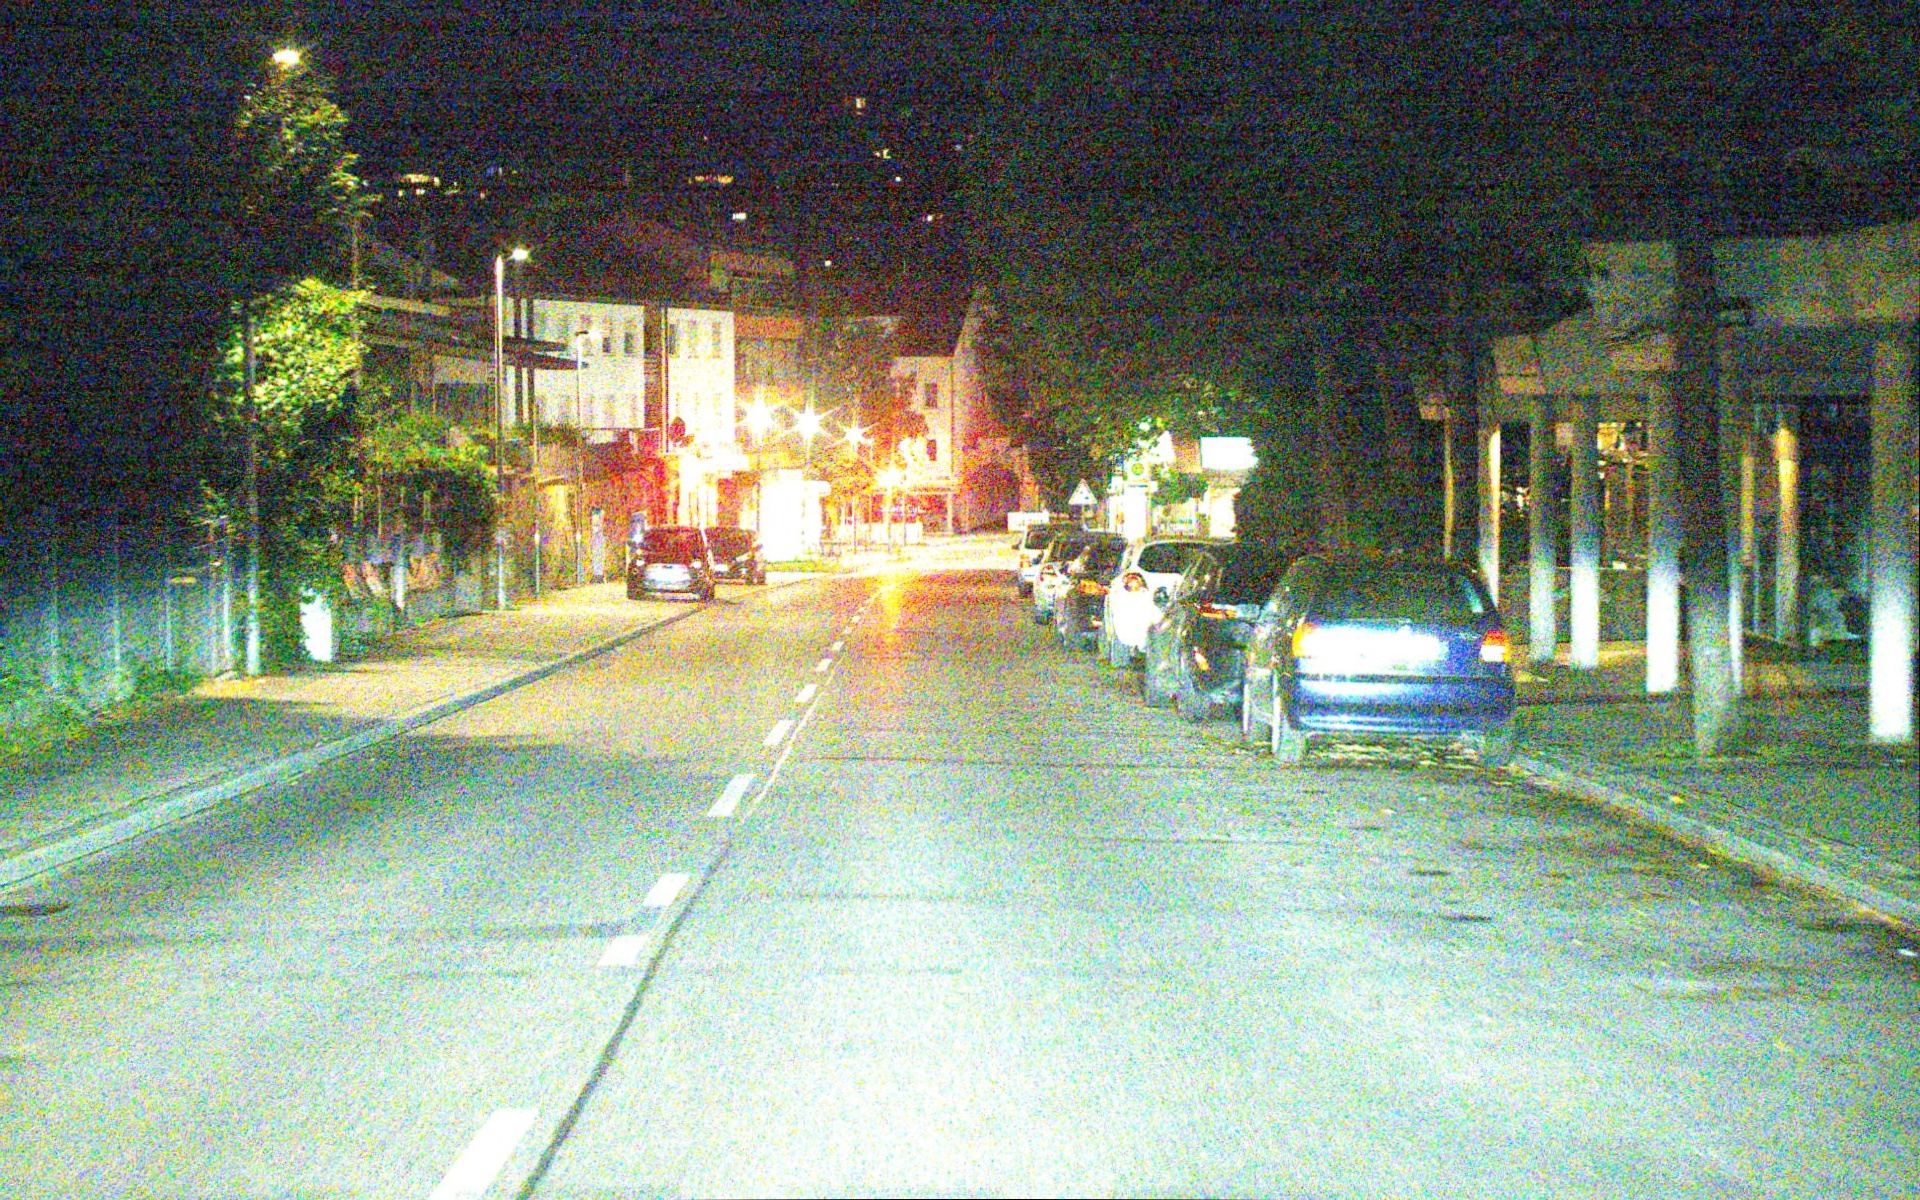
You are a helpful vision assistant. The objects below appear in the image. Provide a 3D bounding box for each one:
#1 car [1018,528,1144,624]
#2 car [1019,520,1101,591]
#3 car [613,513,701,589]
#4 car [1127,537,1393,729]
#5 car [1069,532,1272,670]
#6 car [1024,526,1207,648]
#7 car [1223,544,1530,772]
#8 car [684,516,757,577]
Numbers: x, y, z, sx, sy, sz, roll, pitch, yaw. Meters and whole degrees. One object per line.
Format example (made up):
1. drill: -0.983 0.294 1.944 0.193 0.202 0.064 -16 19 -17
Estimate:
1. car: 1.921 -0.416 55.506 1.682 1.443 4.001 1 1 -3
2. car: 2.185 -0.998 75.911 1.682 1.534 4.000 0 1 0
3. car: -6.244 -1.027 71.073 1.753 1.534 3.731 0 1 -4
4. car: 2.465 0.225 29.085 1.682 1.443 4.001 1 1 -3
5. car: 2.376 -0.027 39.690 1.682 1.443 4.001 1 1 -6
6. car: 1.958 -0.197 44.330 1.682 1.443 4.001 1 1 -7
7. car: 2.846 0.342 24.240 1.868 1.398 4.000 1 1 3
8. car: -6.125 -1.387 88.195 1.753 1.534 3.731 0 1 -2
